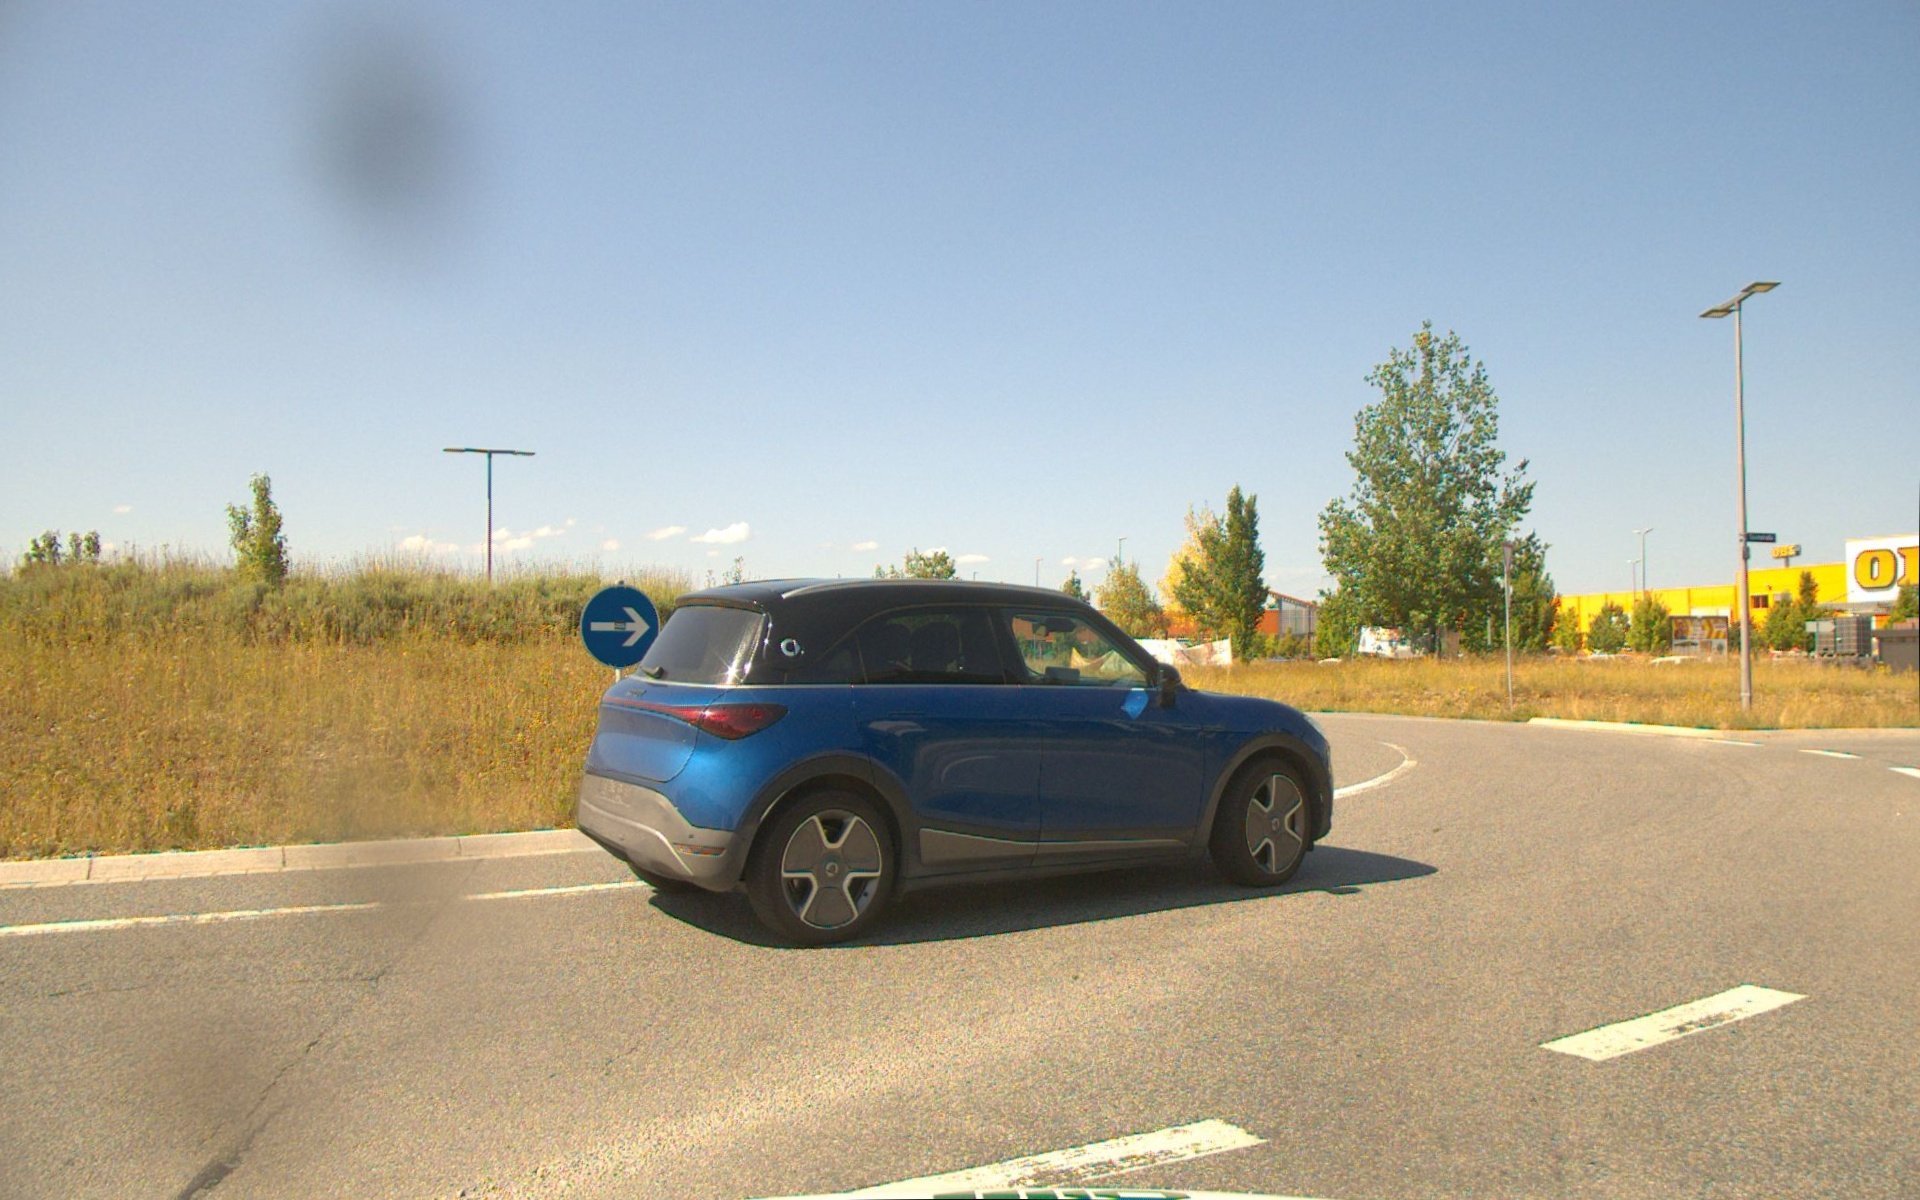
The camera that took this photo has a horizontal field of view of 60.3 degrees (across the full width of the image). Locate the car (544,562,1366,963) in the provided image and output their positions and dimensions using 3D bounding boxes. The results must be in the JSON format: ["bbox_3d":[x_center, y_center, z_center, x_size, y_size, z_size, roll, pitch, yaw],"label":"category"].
[{"bbox_3d":[0.046,0.677,8.750,4.028,1.664,1.836,0,0,-32],"label":"car"}]
